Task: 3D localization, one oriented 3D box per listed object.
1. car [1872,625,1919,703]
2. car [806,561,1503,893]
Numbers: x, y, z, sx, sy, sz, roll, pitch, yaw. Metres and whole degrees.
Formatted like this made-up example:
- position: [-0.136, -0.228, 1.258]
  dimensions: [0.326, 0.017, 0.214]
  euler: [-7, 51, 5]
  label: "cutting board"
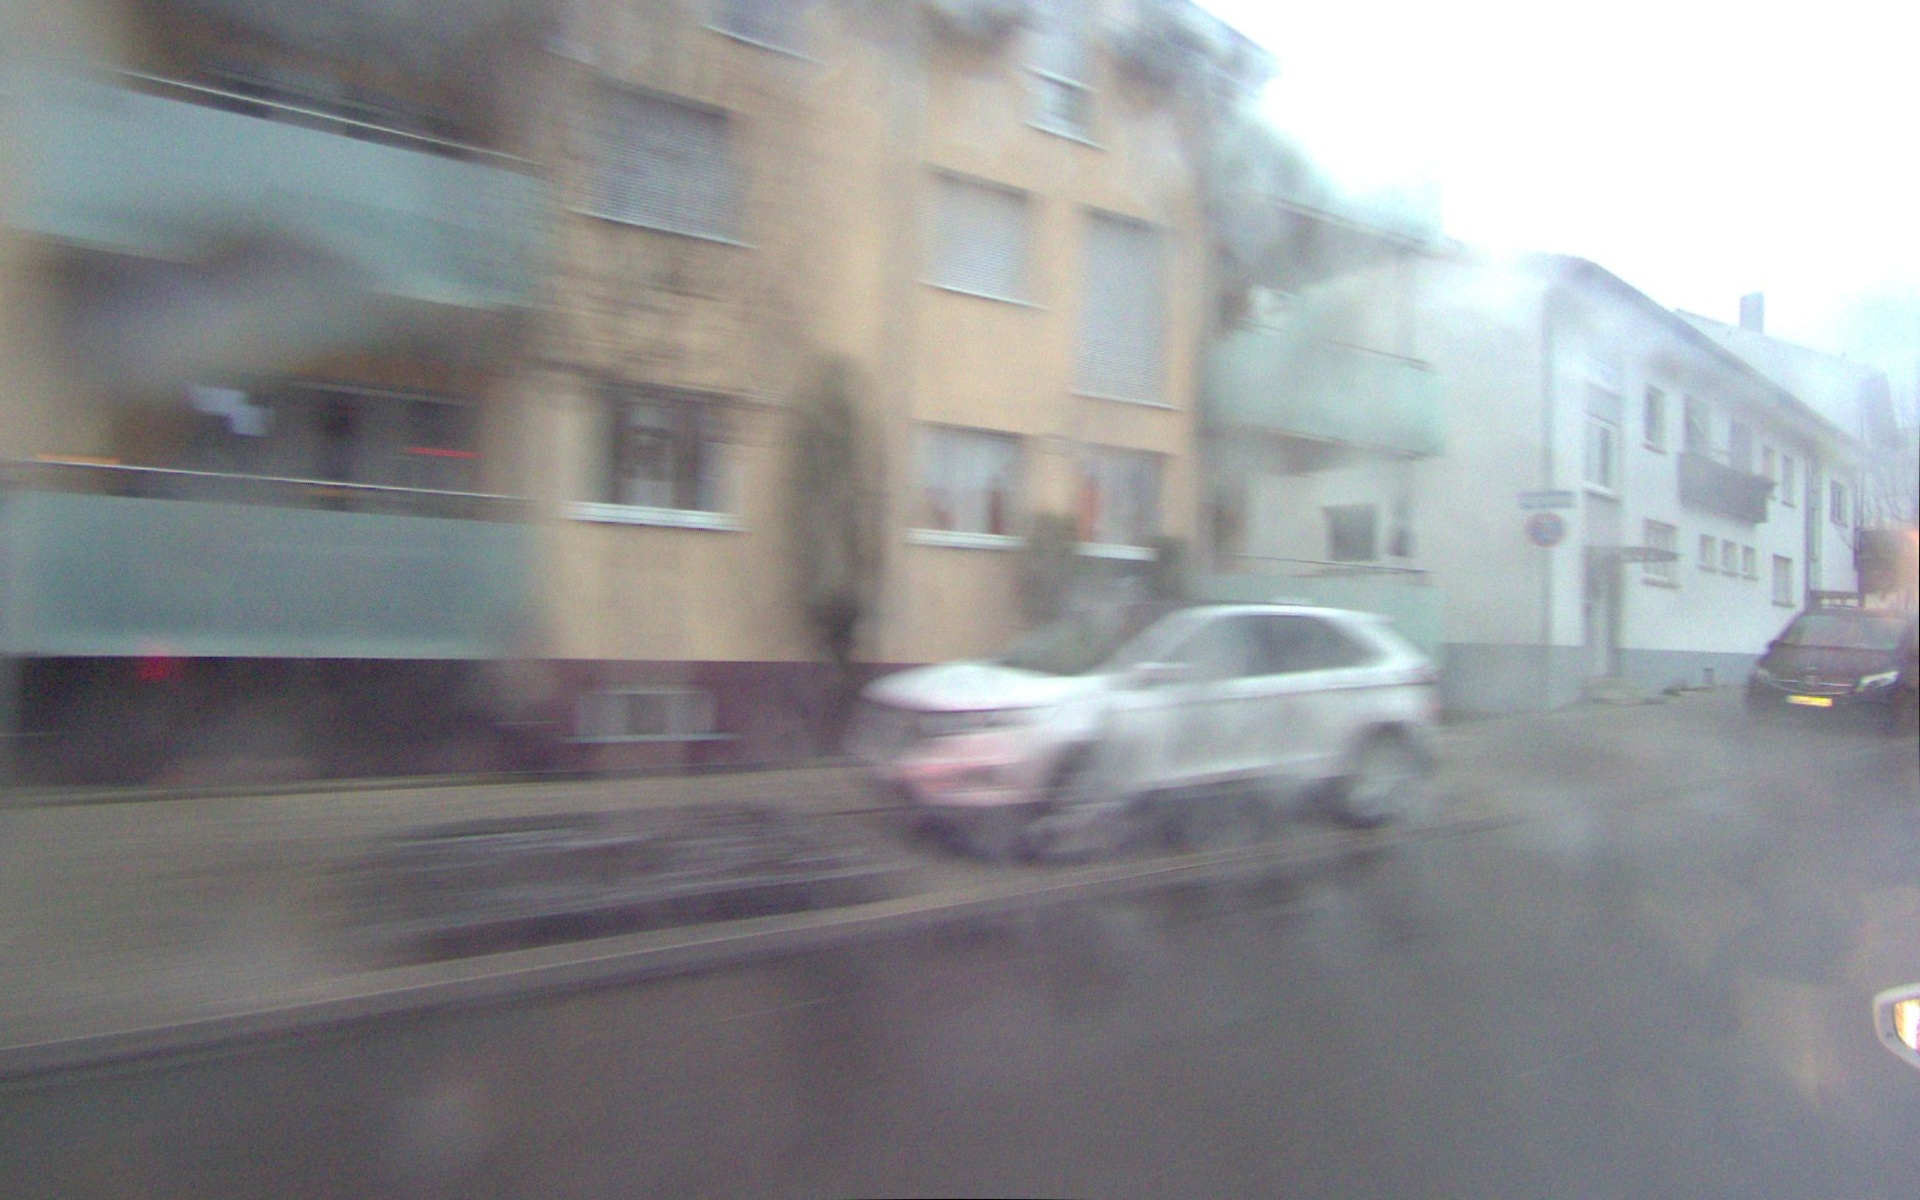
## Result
- position: [22.043, 1.415, 22.161]
  dimensions: [4.503, 1.550, 1.898]
  euler: [1, 3, -36]
  label: "car"
- position: [1.635, 0.772, 7.787]
  dimensions: [5.237, 1.868, 1.985]
  euler: [2, 0, -28]
  label: "car"
